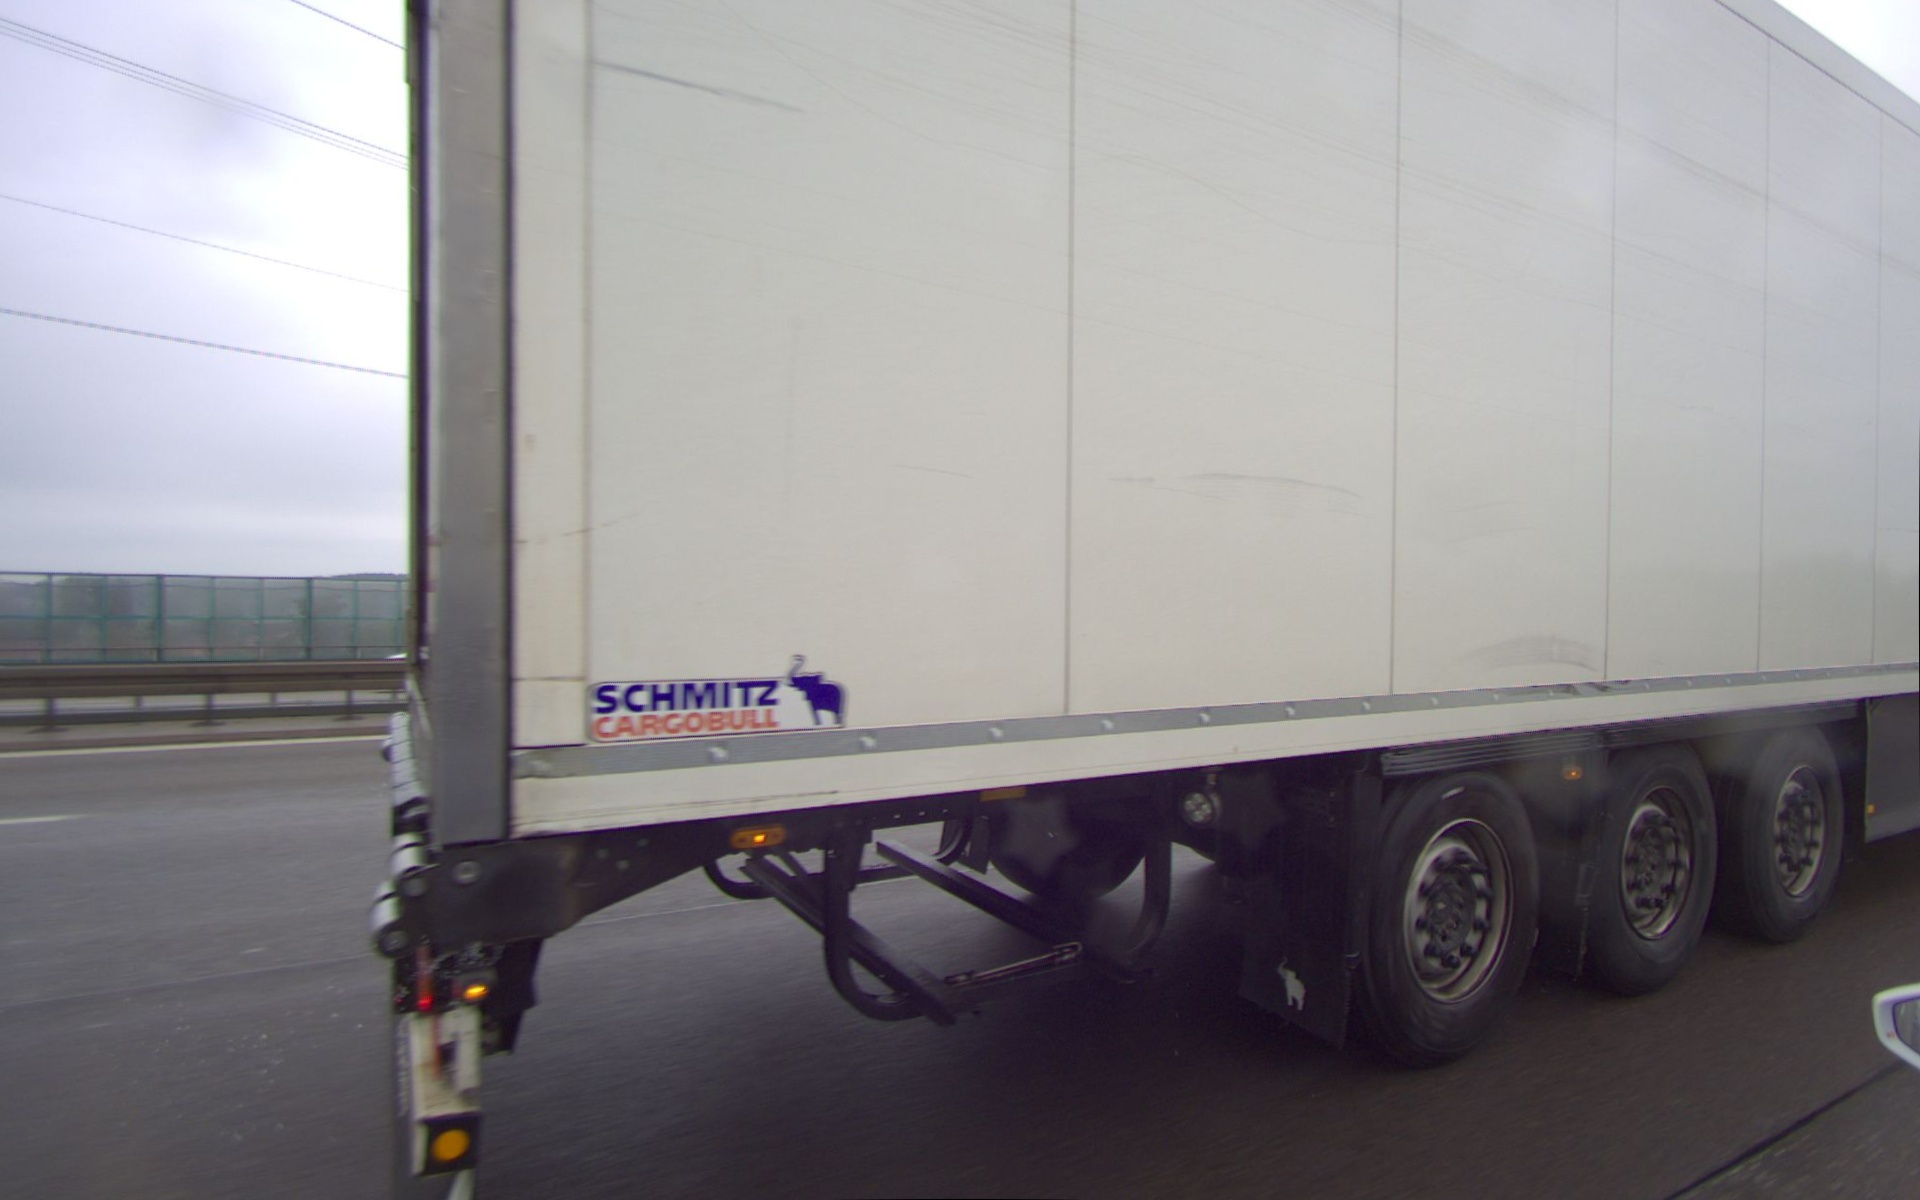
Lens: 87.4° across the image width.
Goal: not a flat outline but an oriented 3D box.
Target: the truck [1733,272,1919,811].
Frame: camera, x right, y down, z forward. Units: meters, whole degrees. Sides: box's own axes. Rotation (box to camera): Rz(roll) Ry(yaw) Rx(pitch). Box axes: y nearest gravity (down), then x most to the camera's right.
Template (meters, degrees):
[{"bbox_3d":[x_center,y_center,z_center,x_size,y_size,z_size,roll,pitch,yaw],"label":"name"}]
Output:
[{"bbox_3d":[10.156,-0.411,9.528,6.272,4.212,2.331,1,-1,-30],"label":"truck"}]

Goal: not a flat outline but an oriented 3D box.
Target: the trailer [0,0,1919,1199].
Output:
[{"bbox_3d":[4.271,-0.513,6.002,14.652,4.212,2.331,1,-1,-31],"label":"trailer"}]
